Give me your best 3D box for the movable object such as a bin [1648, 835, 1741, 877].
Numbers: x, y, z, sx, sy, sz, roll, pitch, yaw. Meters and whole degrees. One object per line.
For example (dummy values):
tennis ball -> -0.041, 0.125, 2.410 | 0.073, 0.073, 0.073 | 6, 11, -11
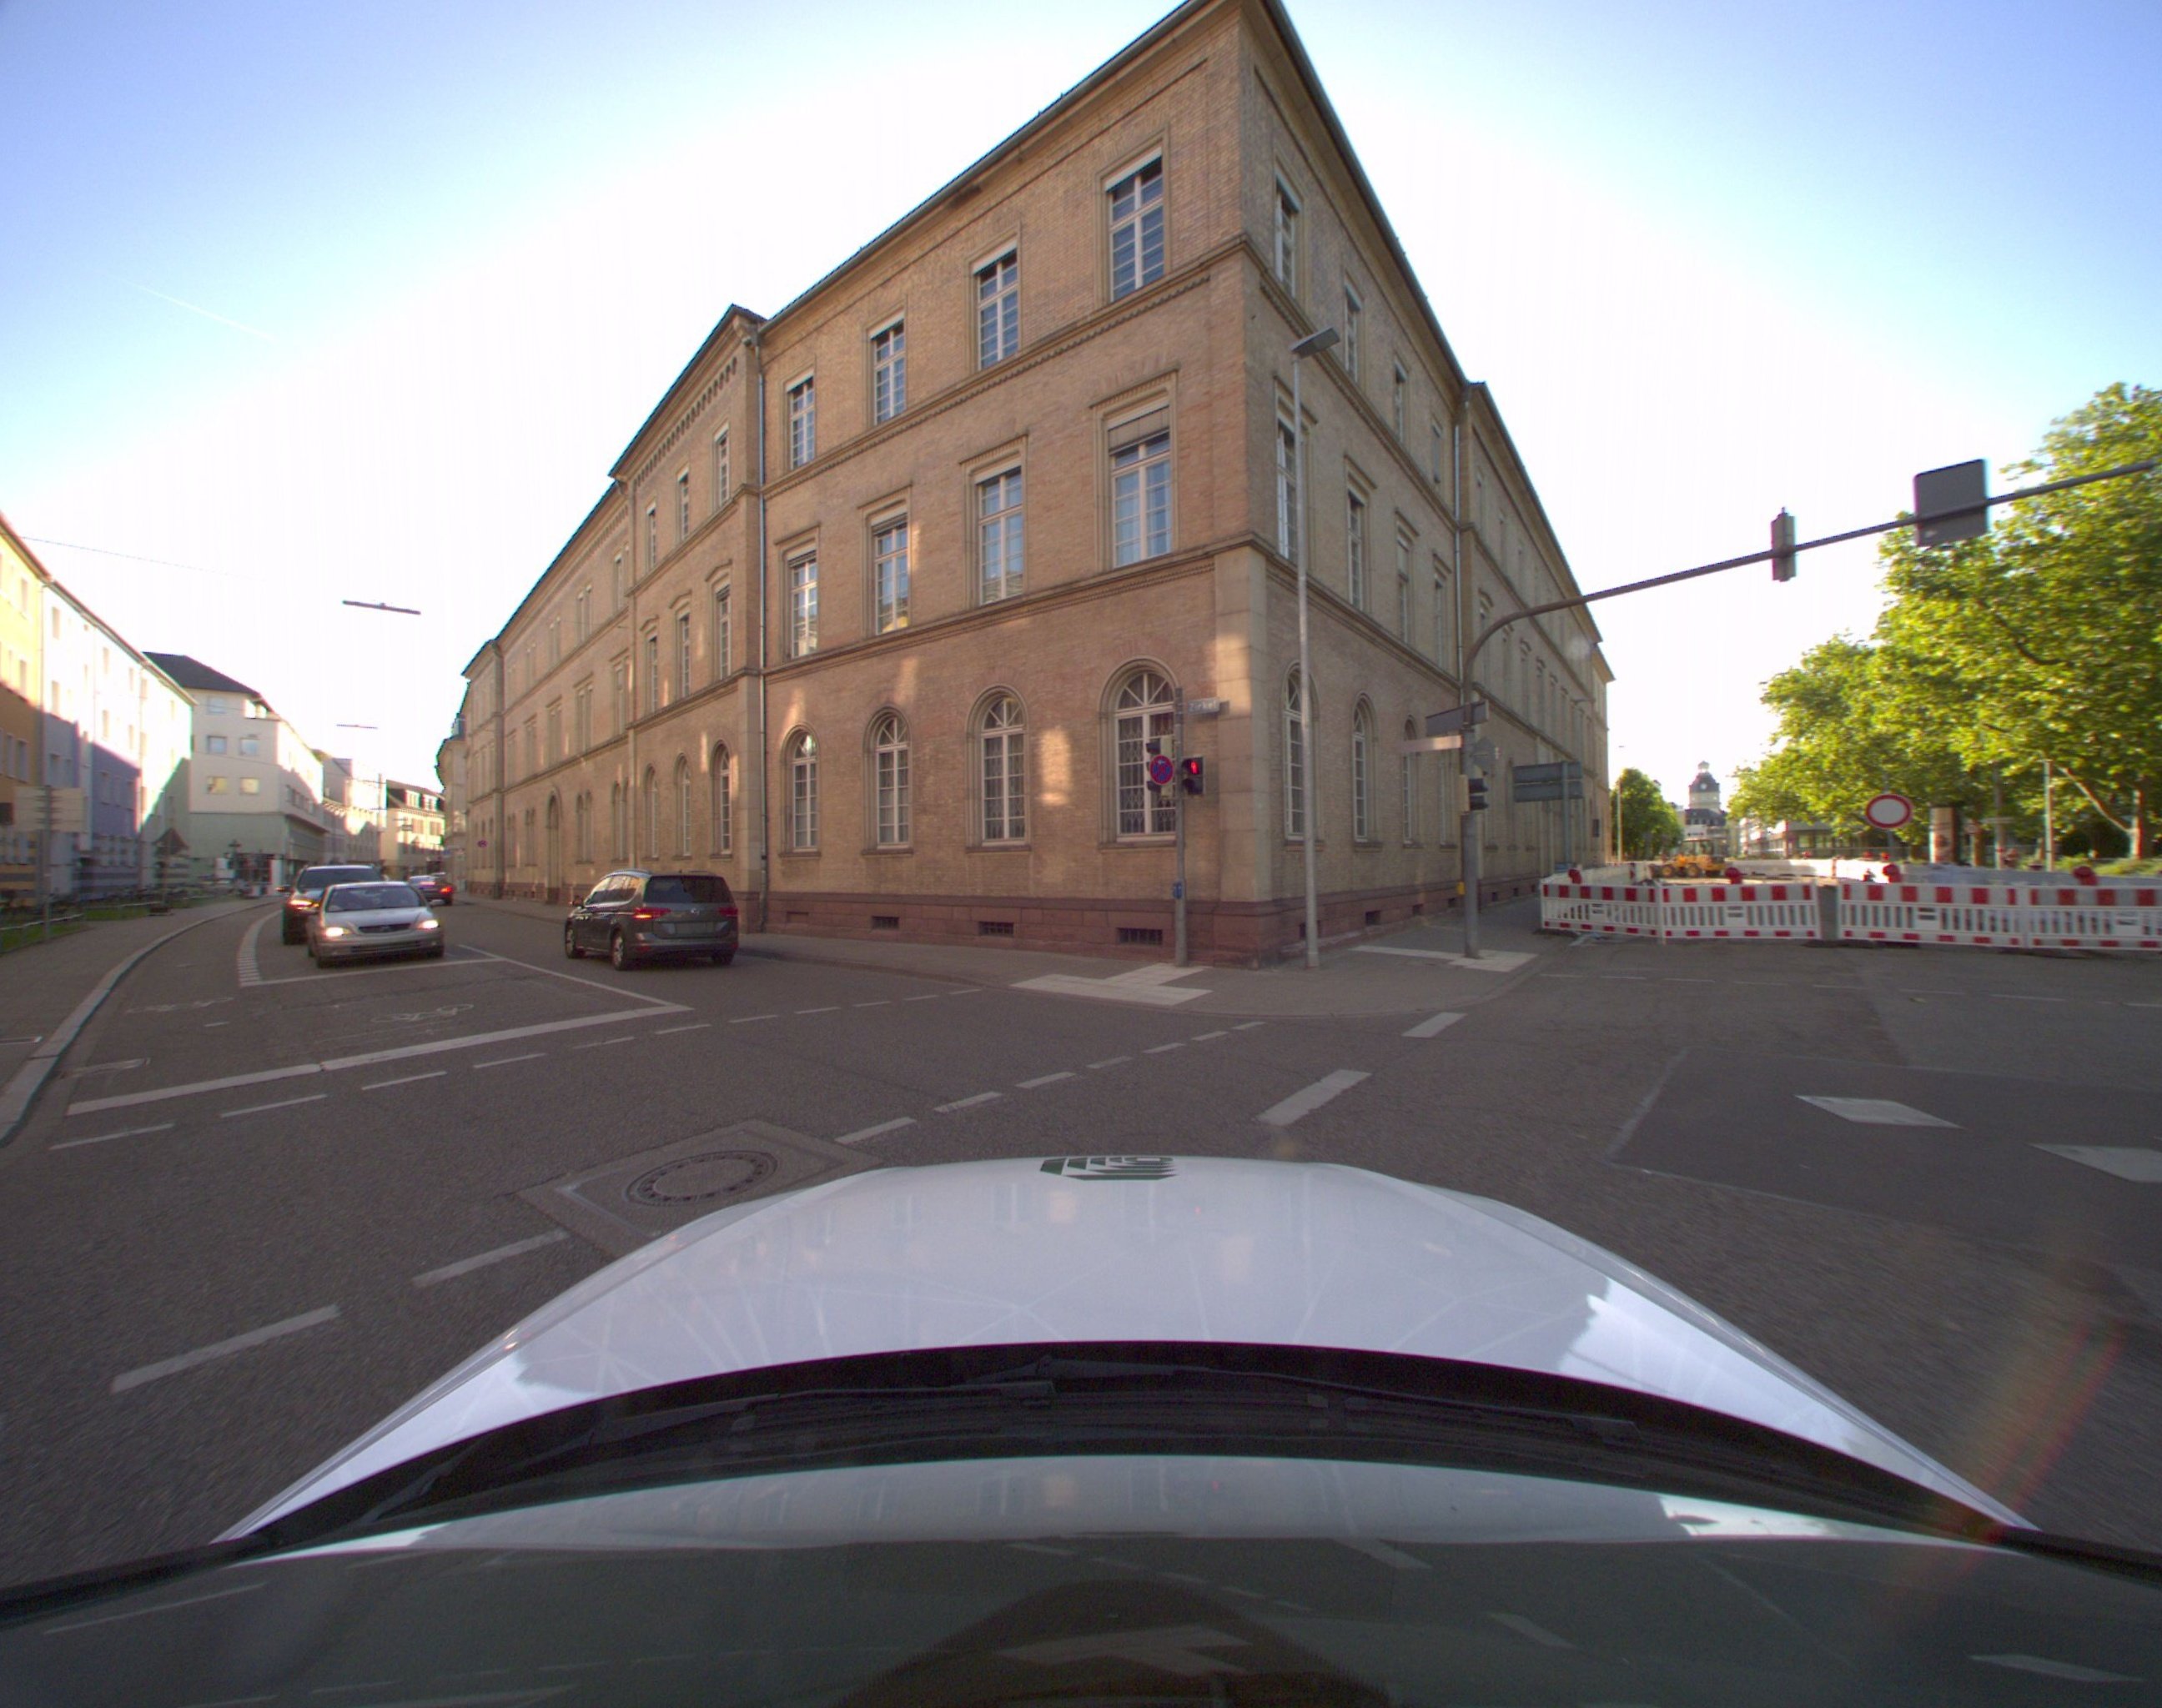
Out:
movable object such as a bin -> 43.108, 0.184, 57.369 | 2.466, 2.777, 4.825 | -1, -1, -10

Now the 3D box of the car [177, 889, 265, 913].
car -> -61.916, 3.381, 58.727 | 4.133, 1.443, 1.925 | -1, 0, -40

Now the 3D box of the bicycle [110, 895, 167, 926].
bicycle -> -41.004, 2.445, 35.455 | 1.599, 1.241, 0.443 | 0, -2, -44

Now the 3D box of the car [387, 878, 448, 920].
car -> -31.990, 2.108, 39.219 | 2.011, 1.882, 3.951 | 0, -1, -43

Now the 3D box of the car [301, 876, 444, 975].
car -> -13.204, 1.220, 15.147 | 1.757, 1.486, 4.086 | -3, 1, -43

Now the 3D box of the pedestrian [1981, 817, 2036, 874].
pedestrian -> 44.613, -0.395, 39.169 | 1.150, 2.667, 1.412 | -1, -1, -26

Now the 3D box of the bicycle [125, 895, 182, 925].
bicycle -> -41.621, 2.500, 36.565 | 1.654, 1.241, 0.461 | 0, -2, -44

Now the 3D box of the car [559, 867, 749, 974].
car -> -7.556, 1.063, 14.249 | 3.949, 1.607, 1.778 | -2, -3, 44

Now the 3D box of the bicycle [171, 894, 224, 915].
bicycle -> -50.083, 2.841, 46.183 | 0.605, 1.180, 1.947 | -2, -4, 33

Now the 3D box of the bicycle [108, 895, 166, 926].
bicycle -> -40.721, 2.430, 35.154 | 1.594, 1.241, 0.379 | 0, -2, -44

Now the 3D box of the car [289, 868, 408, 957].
car -> -18.275, 1.360, 20.230 | 1.917, 1.835, 5.031 | -3, 0, -45

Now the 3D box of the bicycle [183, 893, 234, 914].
bicycle -> -50.837, 2.884, 47.455 | 0.605, 1.180, 1.947 | -3, -4, 40

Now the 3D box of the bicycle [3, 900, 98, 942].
bicycle -> -31.160, 2.014, 24.655 | 0.642, 1.145, 1.768 | -2, -1, 39

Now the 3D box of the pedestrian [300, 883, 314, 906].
pedestrian -> -62.284, 3.238, 65.542 | 0.557, 1.829, 0.726 | -1, -1, -18

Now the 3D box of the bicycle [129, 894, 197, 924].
bicycle -> -41.935, 2.495, 37.241 | 2.026, 1.231, 0.615 | 0, -2, -44
